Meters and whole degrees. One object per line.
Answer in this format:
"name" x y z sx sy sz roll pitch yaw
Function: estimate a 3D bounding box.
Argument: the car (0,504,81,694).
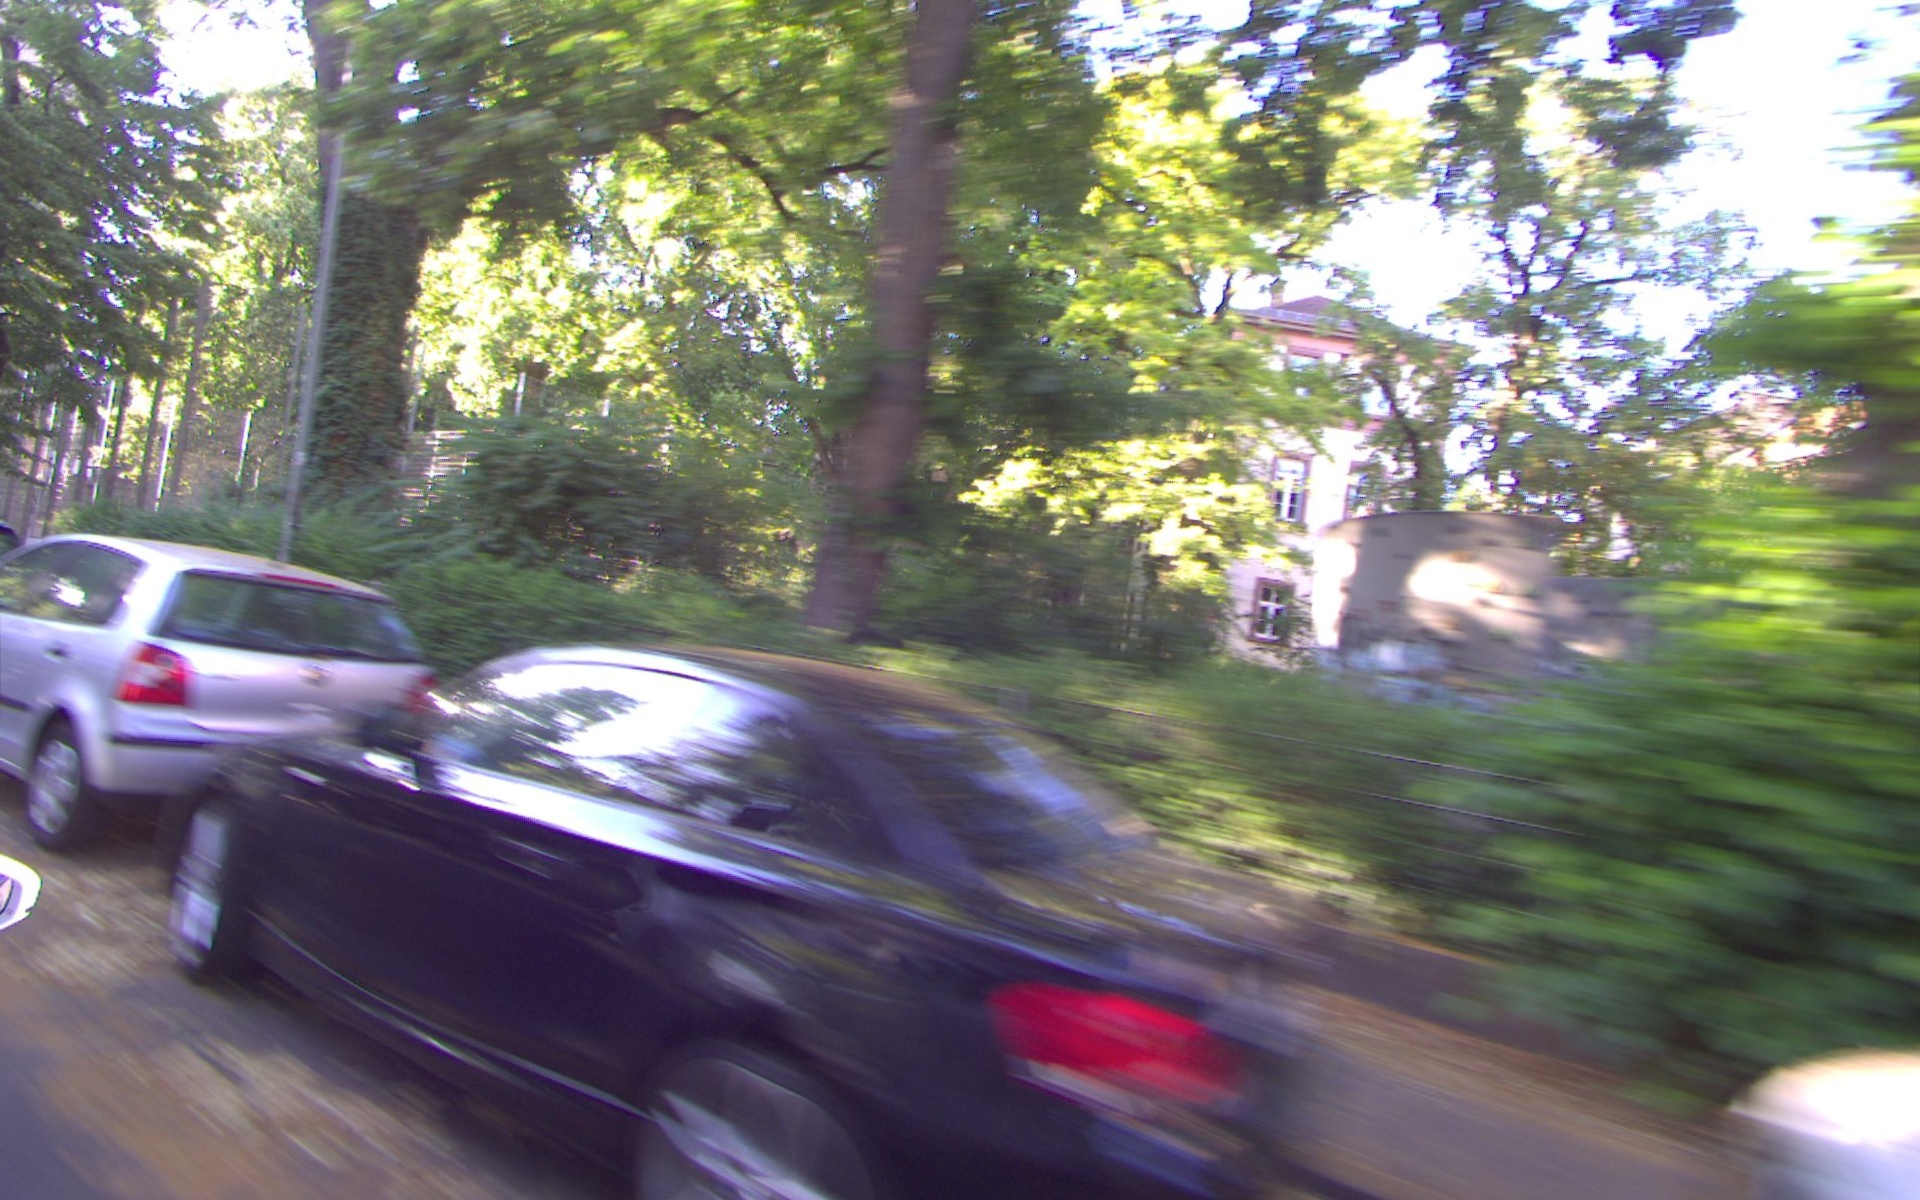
"car" -9.404 -0.243 8.673 3.831 1.474 1.676 7 -3 34

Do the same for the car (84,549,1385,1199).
"car" -1.007 0.810 3.410 4.195 1.406 1.676 7 -3 32

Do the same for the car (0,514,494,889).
"car" -4.740 0.376 5.893 3.829 1.474 1.676 7 -3 32

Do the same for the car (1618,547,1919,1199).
"car" 3.224 1.118 0.812 4.303 1.726 1.792 7 -3 31
